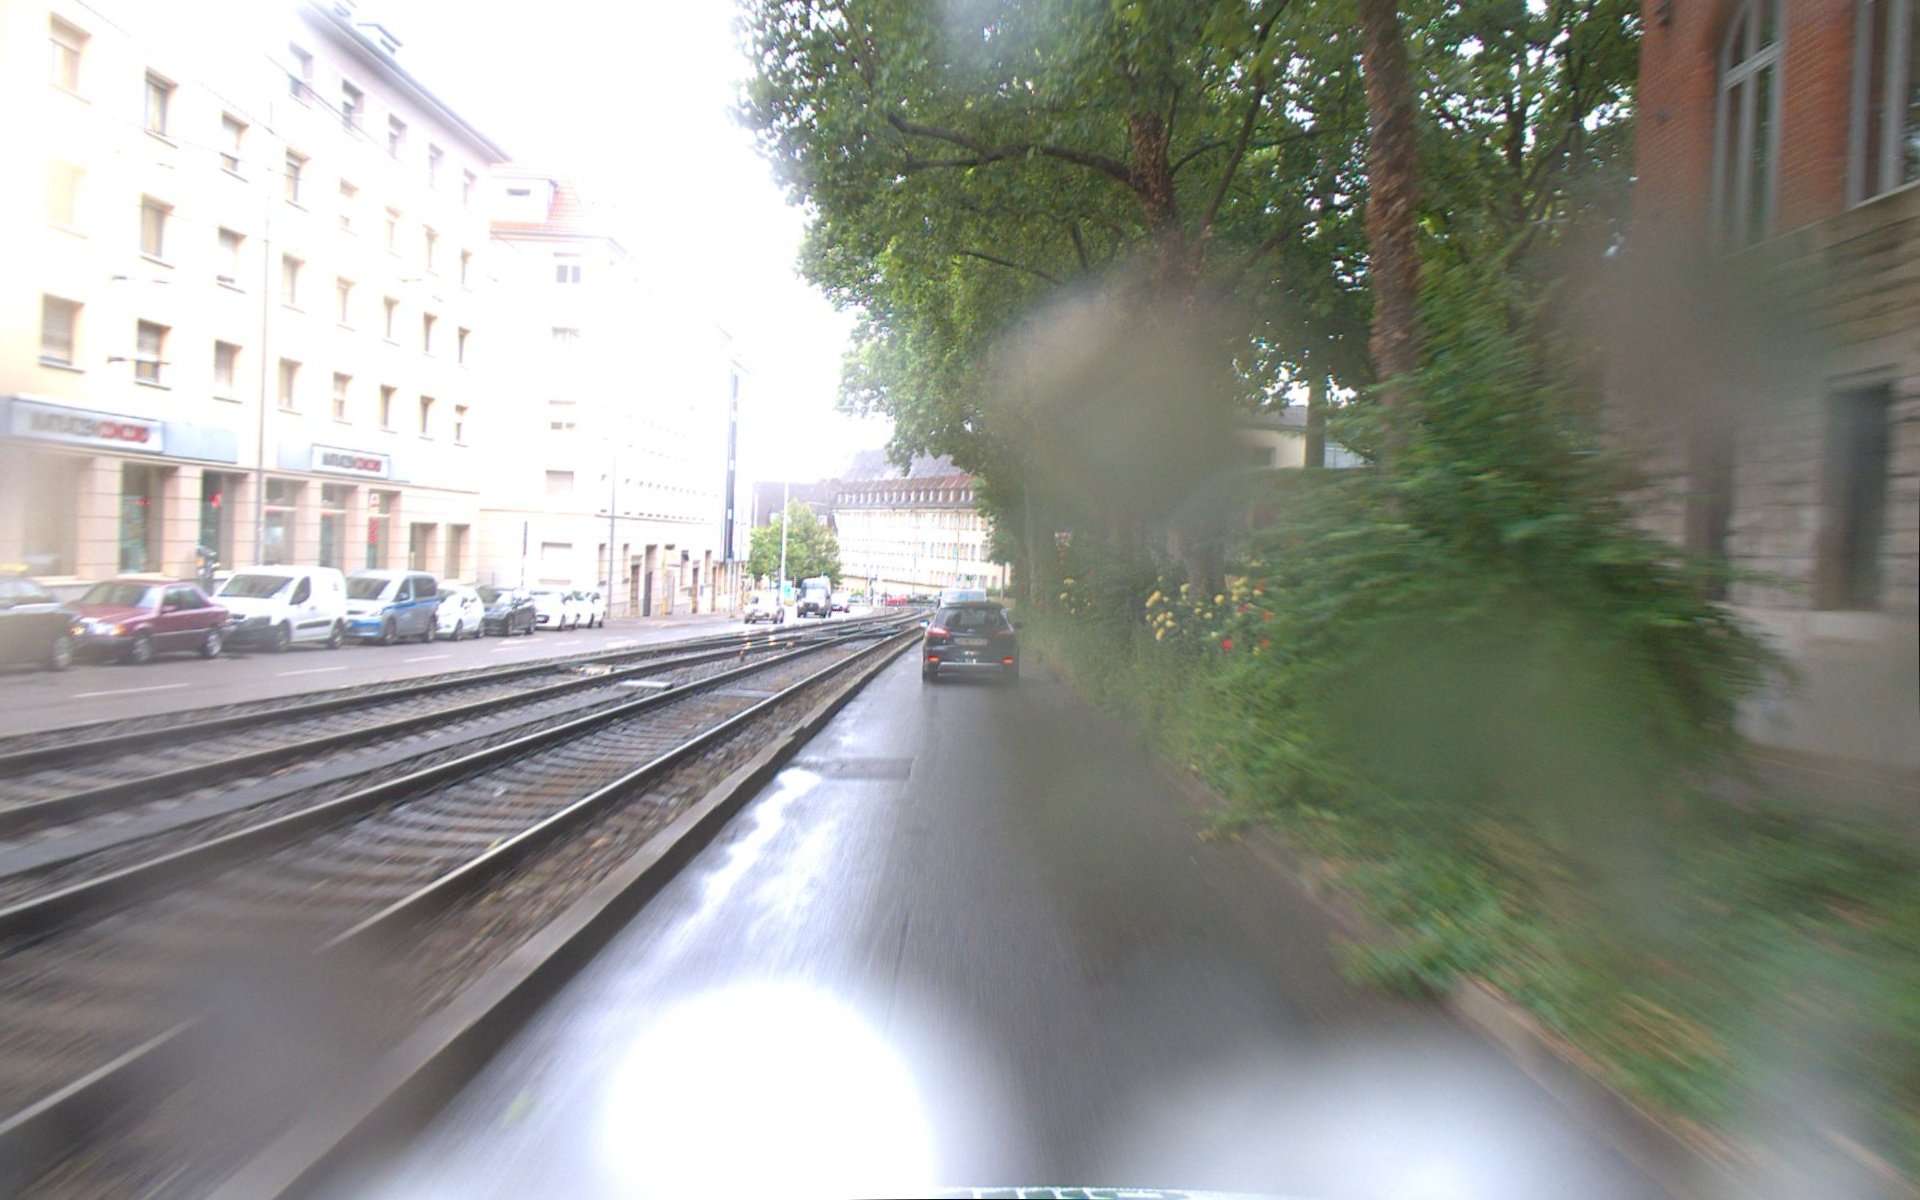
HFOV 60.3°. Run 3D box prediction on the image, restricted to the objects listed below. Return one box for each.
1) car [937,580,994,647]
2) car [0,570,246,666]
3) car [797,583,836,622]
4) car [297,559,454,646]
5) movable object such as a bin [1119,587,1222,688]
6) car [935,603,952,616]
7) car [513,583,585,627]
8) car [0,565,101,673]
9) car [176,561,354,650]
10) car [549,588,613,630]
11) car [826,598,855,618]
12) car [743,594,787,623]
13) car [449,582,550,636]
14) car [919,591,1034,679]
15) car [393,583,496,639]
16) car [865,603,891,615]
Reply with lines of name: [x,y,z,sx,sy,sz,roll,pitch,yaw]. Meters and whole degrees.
car: [0.148,0.439,53.883,1.705,2.049,3.902,2,-1,-1]
car: [-14.687,0.317,29.386,1.813,1.457,4.831,3,-1,0]
car: [-9.823,0.205,113.508,1.952,2.495,5.998,1,-1,1]
car: [-14.562,0.059,41.595,1.953,1.938,5.458,3,0,-1]
movable object such as a bin: [3.202,0.551,25.027,1.371,1.478,1.217,0,0,16]
car: [-1.973,1.155,201.198,1.626,1.502,3.637,2,-1,-8]
car: [-14.647,0.156,59.155,1.670,1.421,3.933,3,0,-3]
car: [-14.542,0.253,24.056,1.815,1.534,4.986,2,-1,-5]
car: [-14.750,0.132,35.399,1.829,1.747,4.460,2,-1,1]
car: [-14.607,0.348,63.898,1.674,1.475,3.540,4,-1,-2]
car: [-9.494,0.636,132.175,1.841,1.512,4.854,2,0,1]
car: [-10.258,0.434,87.313,1.676,1.488,4.281,1,0,2]
car: [-14.380,0.278,51.904,1.776,1.525,4.582,3,0,0]
car: [0.247,0.642,31.636,1.895,1.478,4.315,3,-1,-3]
car: [-14.518,0.303,46.813,1.657,1.464,4.048,-2,0,-1]
car: [-10.850,1.188,218.980,1.969,1.569,3.966,0,0,-26]
